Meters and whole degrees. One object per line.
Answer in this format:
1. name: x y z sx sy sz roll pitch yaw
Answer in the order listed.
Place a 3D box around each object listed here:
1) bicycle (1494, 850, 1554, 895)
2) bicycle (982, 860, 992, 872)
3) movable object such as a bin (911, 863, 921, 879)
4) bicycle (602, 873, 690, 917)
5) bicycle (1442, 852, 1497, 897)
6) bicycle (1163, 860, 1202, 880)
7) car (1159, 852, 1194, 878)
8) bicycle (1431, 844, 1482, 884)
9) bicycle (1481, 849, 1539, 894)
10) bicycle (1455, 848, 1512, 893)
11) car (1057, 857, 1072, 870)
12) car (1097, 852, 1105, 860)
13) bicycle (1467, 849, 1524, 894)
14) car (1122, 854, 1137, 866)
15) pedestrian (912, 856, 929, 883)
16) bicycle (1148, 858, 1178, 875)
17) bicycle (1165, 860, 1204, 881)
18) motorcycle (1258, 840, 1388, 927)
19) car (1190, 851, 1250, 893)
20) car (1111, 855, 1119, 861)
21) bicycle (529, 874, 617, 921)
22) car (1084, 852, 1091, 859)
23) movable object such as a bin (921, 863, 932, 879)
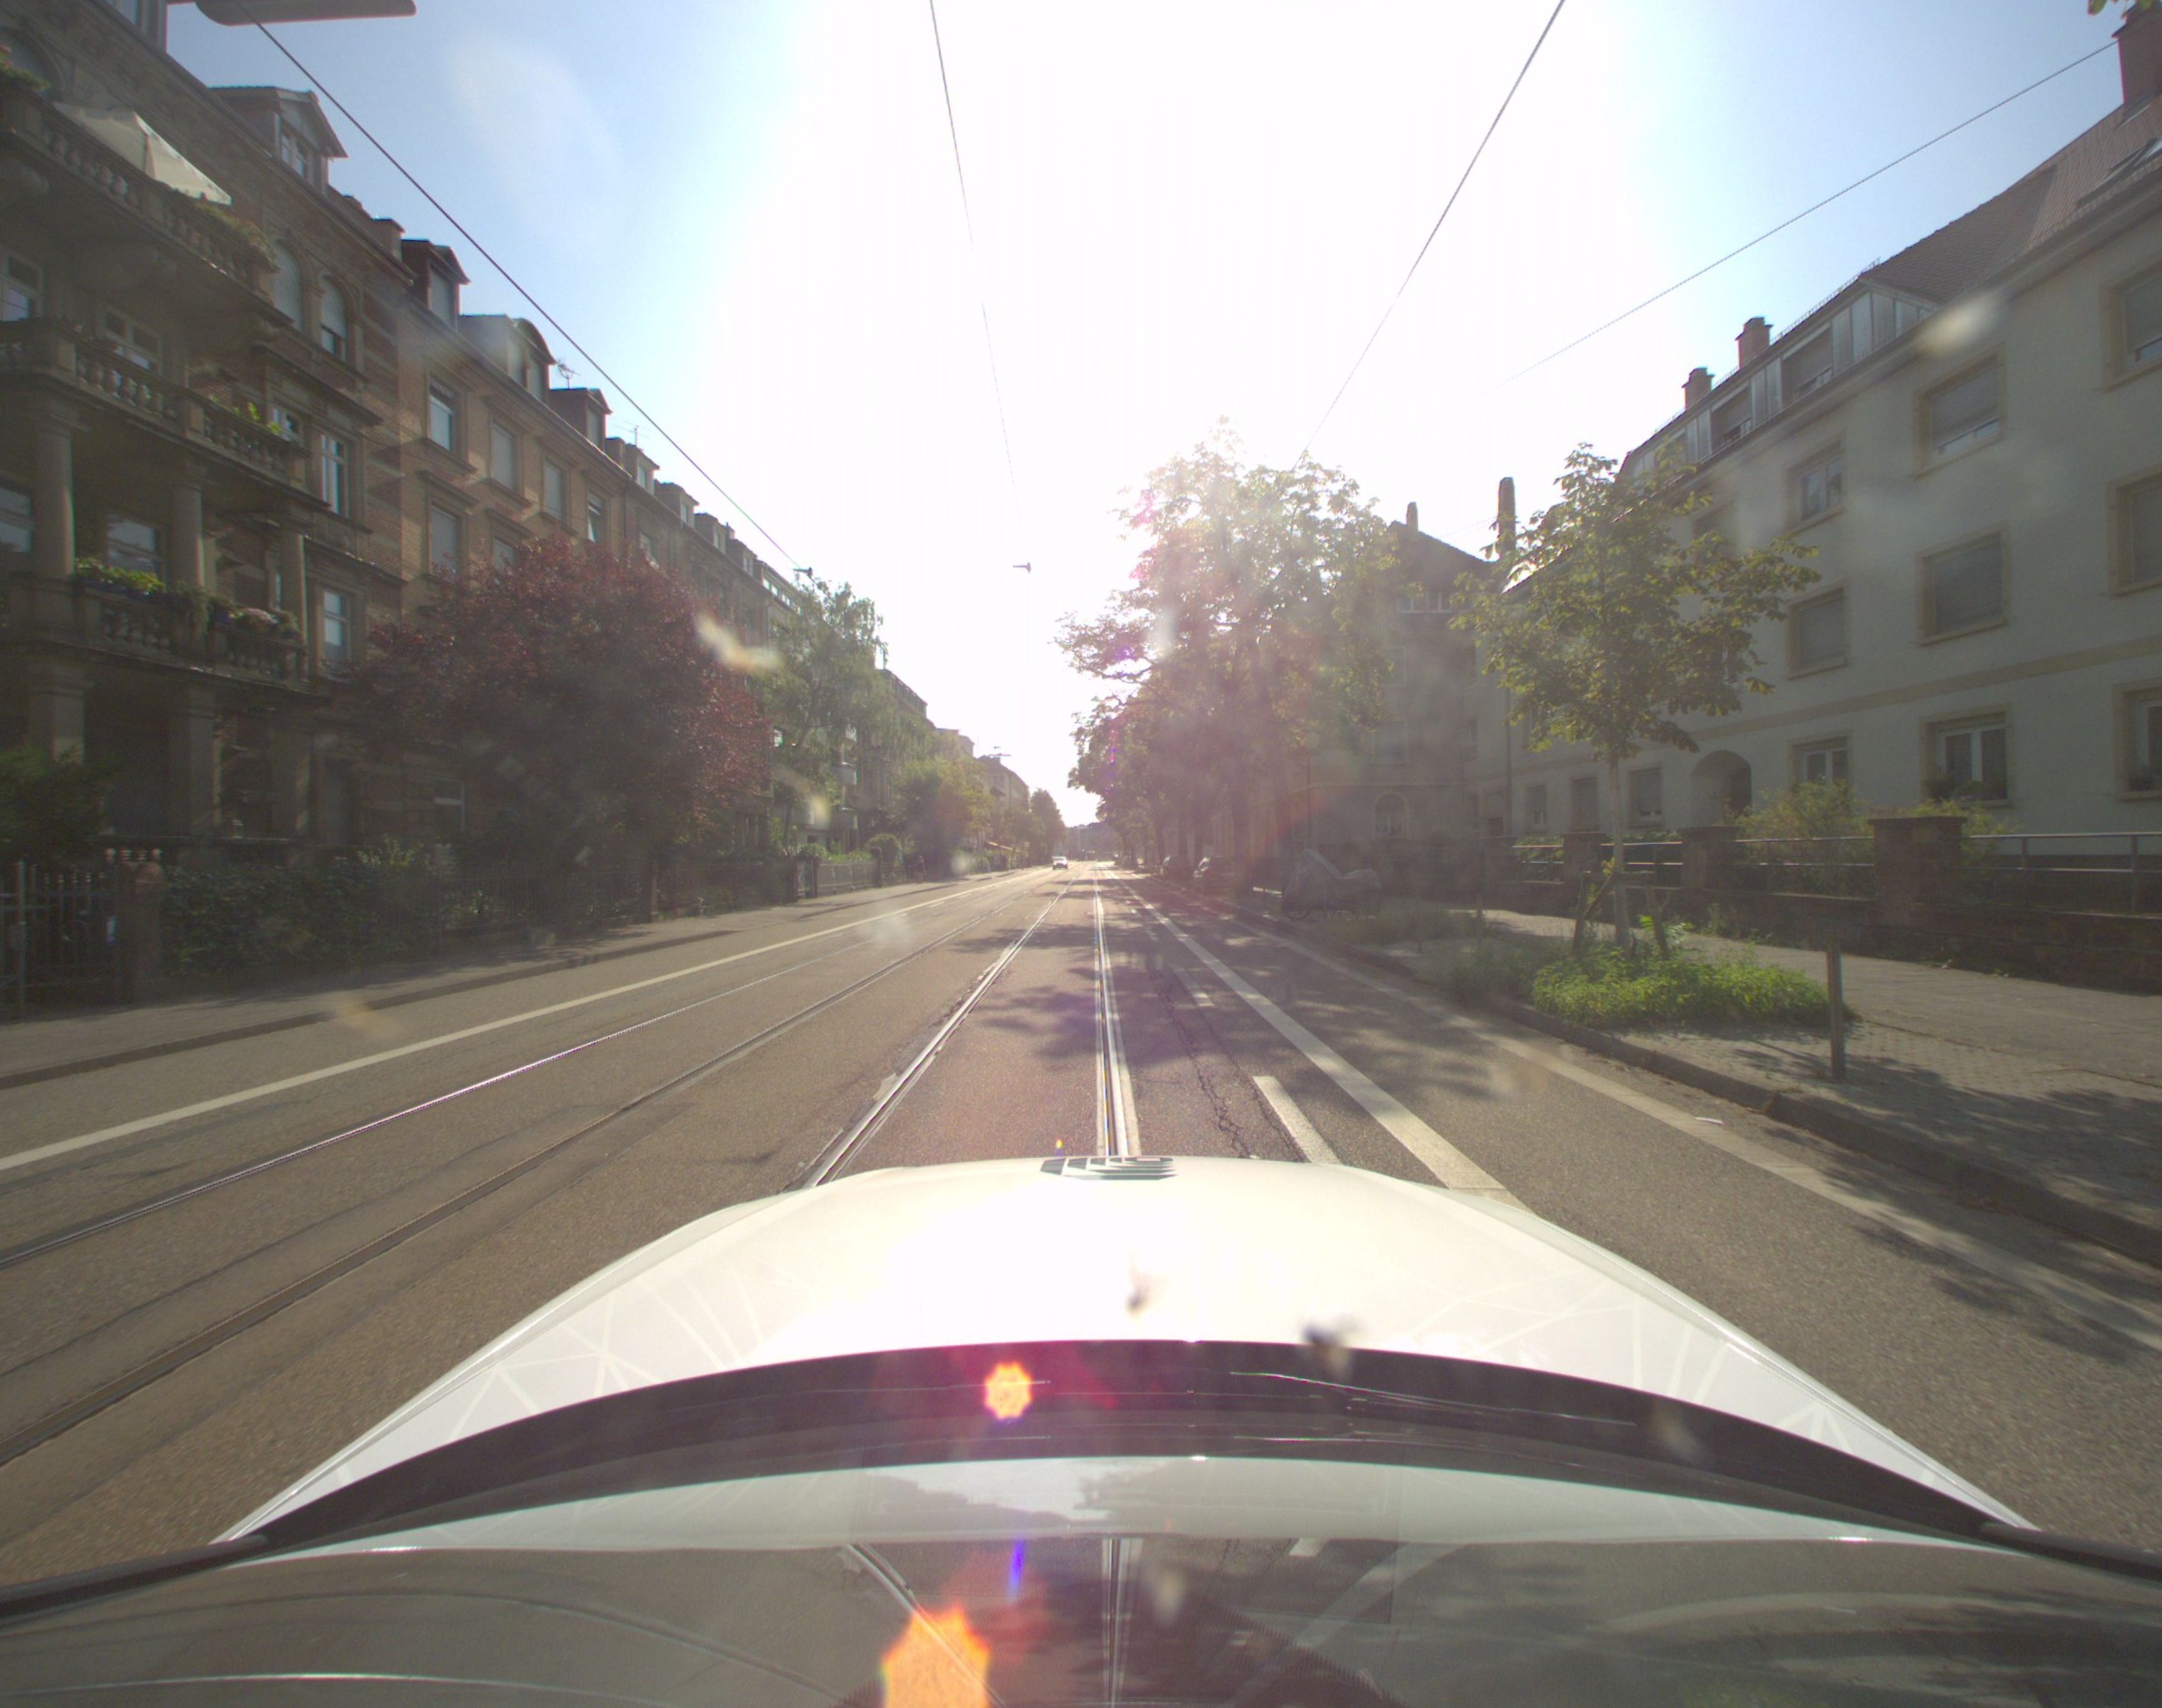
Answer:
1. bicycle: 11.632 0.456 21.444 0.423 1.104 1.999 -1 0 -2
2. bicycle: -9.343 1.191 81.079 0.559 1.221 2.115 -1 0 3
3. movable object such as a bin: -11.017 1.134 54.347 0.589 1.078 0.703 -1 0 -6
4. bicycle: -11.728 1.093 22.007 2.011 1.104 0.588 -1 0 -3
5. bicycle: 10.136 0.504 21.318 0.422 1.104 1.999 -1 0 -2
6. bicycle: 5.769 0.920 46.296 2.104 1.105 0.561 -1 0 -7
7. car: 5.818 0.694 49.954 1.765 1.473 3.974 -2 -1 1
8. bicycle: 10.681 0.268 23.252 0.536 1.104 1.872 -1 0 -2
9. bicycle: 11.204 0.438 21.333 0.423 1.104 1.999 -1 0 -2
10. bicycle: 10.490 0.406 21.295 0.423 1.104 1.999 -1 0 -2
11. car: -1.989 1.160 100.870 1.721 1.638 3.985 -1 0 1
12. car: 5.616 0.524 225.919 1.985 2.013 4.004 1 0 4
13. bicycle: 10.791 0.431 21.268 0.423 1.104 1.999 -1 0 -2
14. car: 6.425 0.824 107.303 1.765 1.473 3.974 -2 -1 1
15. pedestrian: -9.555 0.895 48.490 0.749 1.591 0.878 -1 0 1
16. bicycle: 6.092 0.923 60.431 2.100 1.105 0.616 -3 0 -1
17. bicycle: 5.818 0.926 45.771 2.104 1.105 0.561 -1 0 -7
18. motorcycle: 5.034 0.617 17.099 0.919 1.673 2.390 -3 0 -45
19. car: 5.537 0.687 32.928 1.721 1.504 3.985 -3 0 1
20. car: 9.753 1.129 233.664 1.984 1.783 4.006 1 0 5
21. bicycle: -12.771 1.070 20.514 0.581 1.104 1.770 -1 0 42
22. car: 1.895 0.445 244.462 1.985 2.013 4.004 1 0 3
23. movable object such as a bin: -10.348 1.140 54.417 0.630 1.078 0.703 -1 0 -6
